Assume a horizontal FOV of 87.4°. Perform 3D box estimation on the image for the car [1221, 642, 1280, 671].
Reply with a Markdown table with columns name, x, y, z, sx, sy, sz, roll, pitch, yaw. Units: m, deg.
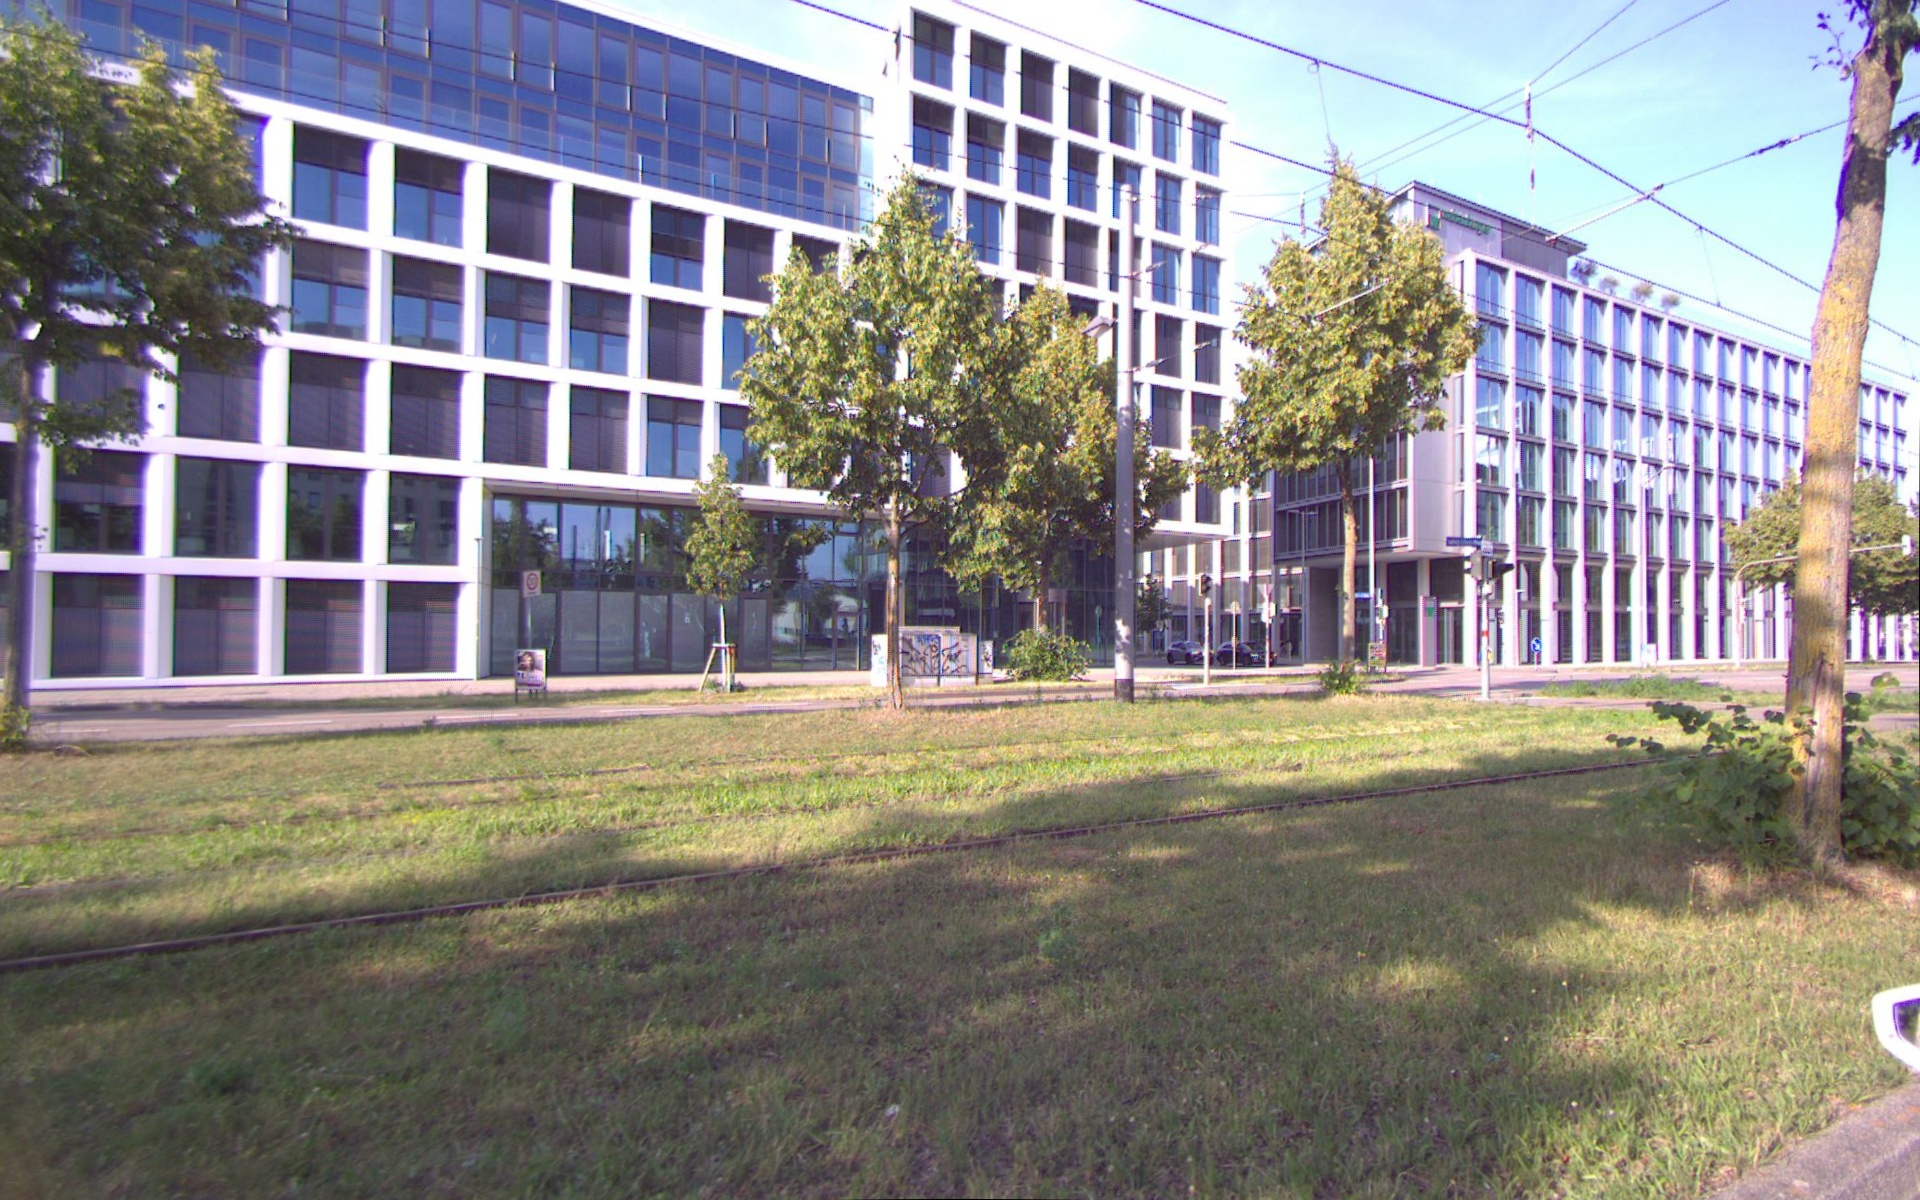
| name | x | y | z | sx | sy | sz | roll | pitch | yaw |
| --- | --- | --- | --- | --- | --- | --- | --- | --- | --- |
| car | 16.763 | 3.250 | 58.118 | 1.551 | 1.443 | 3.497 | 2 | 0 | -19 |

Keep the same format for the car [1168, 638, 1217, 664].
| name | x | y | z | sx | sy | sz | roll | pitch | yaw |
| --- | --- | --- | --- | --- | --- | --- | --- | --- | --- |
| car | 14.947 | 3.275 | 64.832 | 1.549 | 1.443 | 3.667 | 2 | 0 | -15 |
